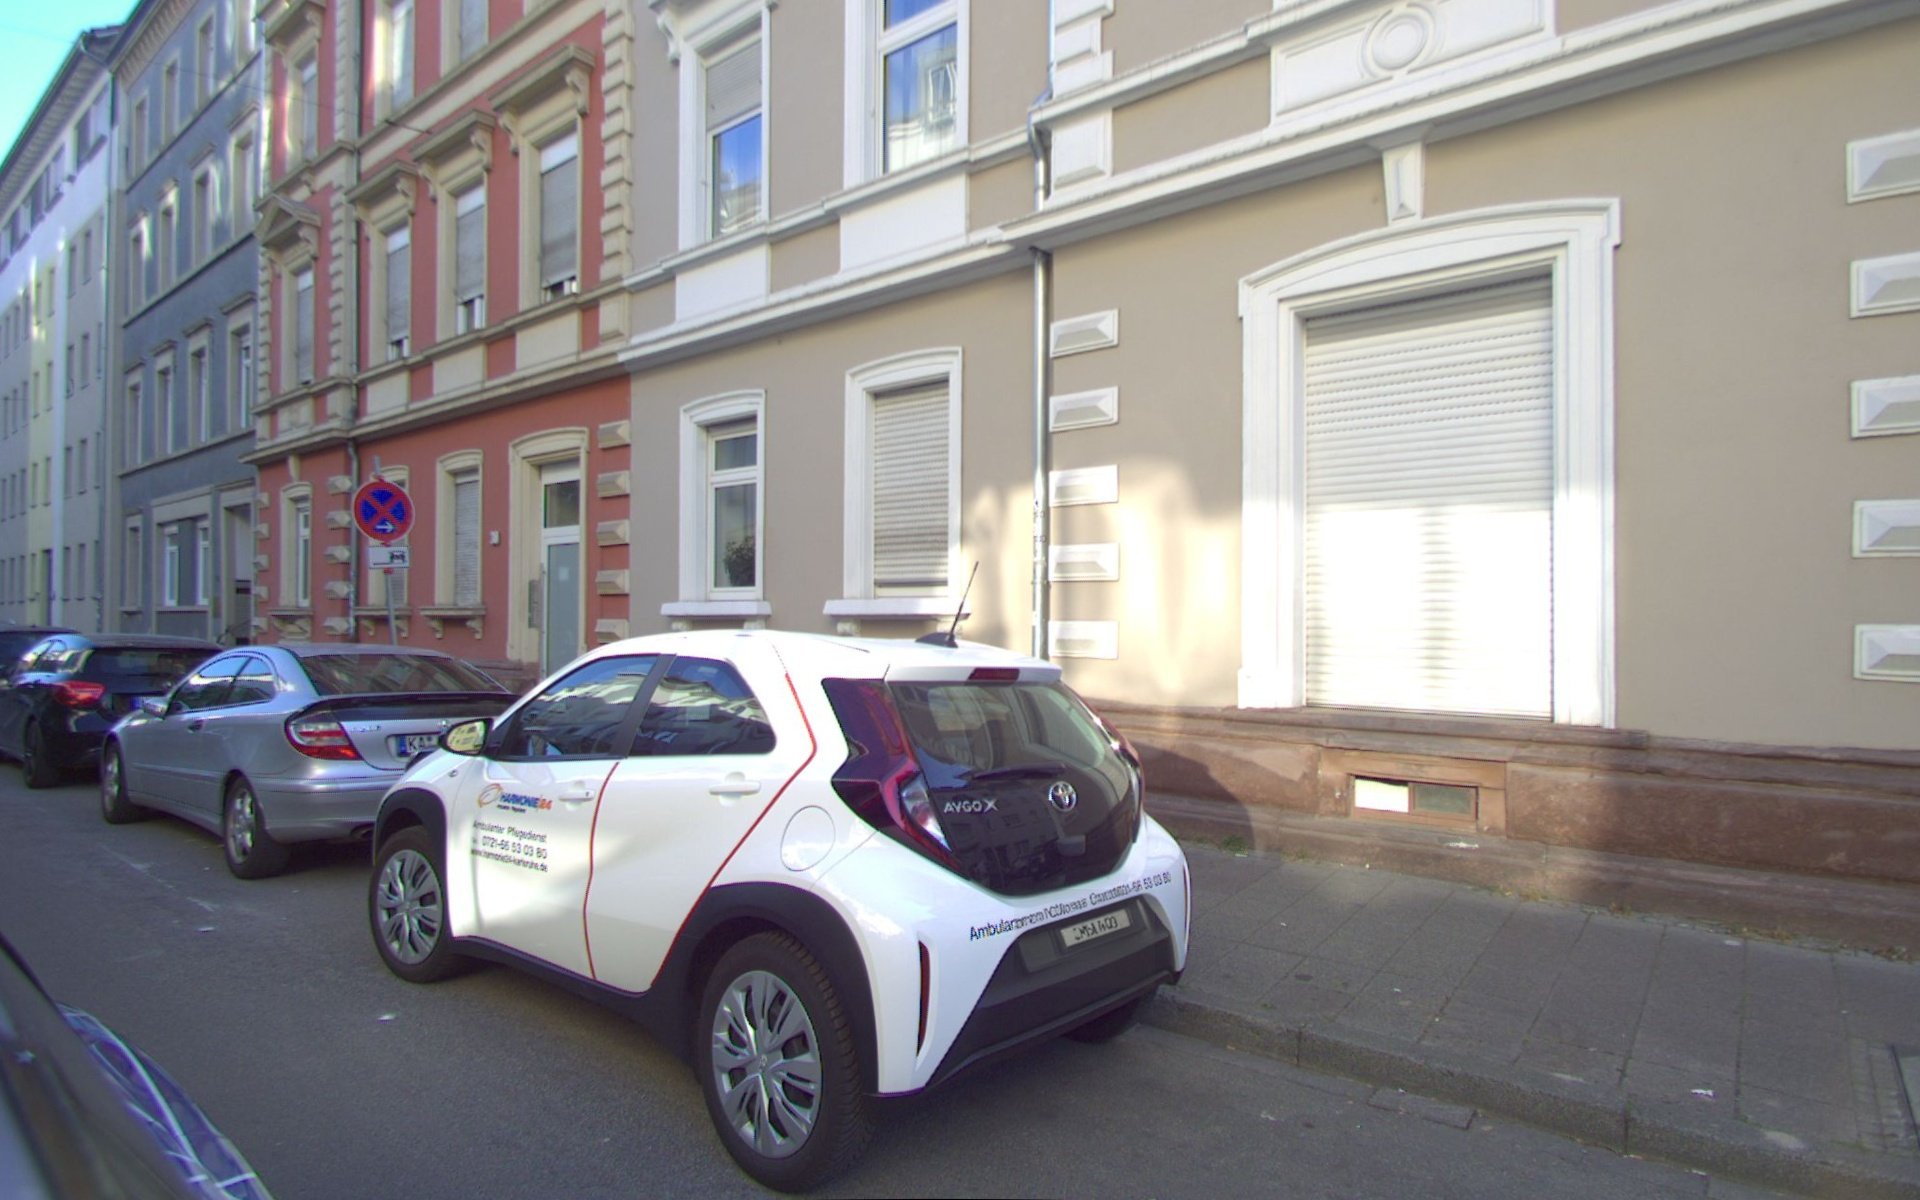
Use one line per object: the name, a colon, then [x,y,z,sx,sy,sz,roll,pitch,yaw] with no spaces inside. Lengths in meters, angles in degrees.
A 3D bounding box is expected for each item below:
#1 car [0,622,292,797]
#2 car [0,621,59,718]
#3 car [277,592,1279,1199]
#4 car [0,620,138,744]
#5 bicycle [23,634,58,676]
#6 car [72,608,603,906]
car: [-8.998,1.030,10.716,4.260,1.495,1.902,-2,-4,38]
car: [-17.384,1.154,17.495,4.260,1.572,1.902,-2,-4,38]
car: [-1.075,0.843,4.311,4.263,1.519,1.901,-2,-4,40]
car: [-13.611,1.108,14.505,4.234,1.572,1.883,-2,-4,38]
bicycle: [-25.200,1.487,27.731,1.750,1.082,0.446,-1,-1,39]
car: [-4.712,0.926,7.441,4.260,1.572,1.902,-2,-4,38]
